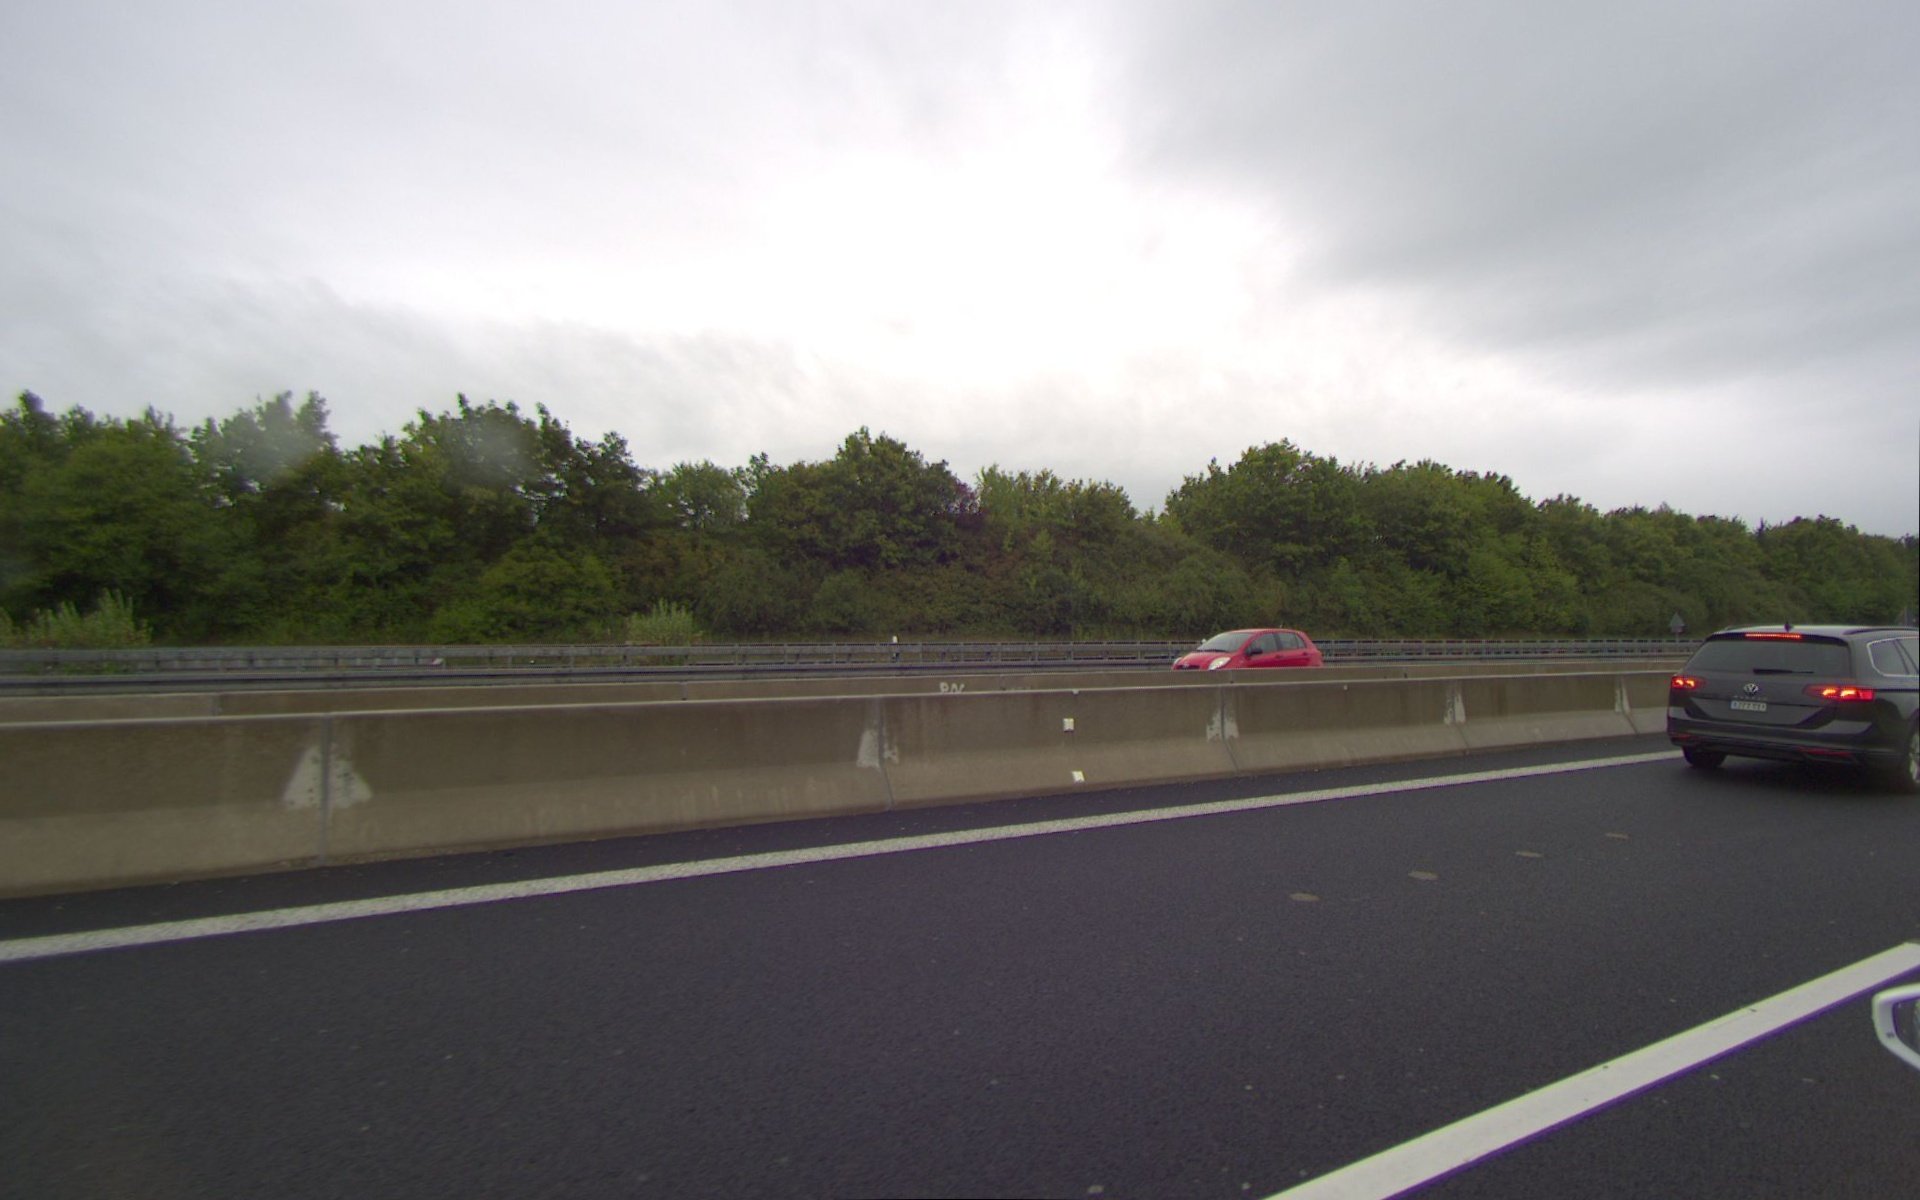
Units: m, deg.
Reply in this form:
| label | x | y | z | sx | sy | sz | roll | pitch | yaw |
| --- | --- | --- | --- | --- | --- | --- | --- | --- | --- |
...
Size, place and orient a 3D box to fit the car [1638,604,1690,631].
| label | x | y | z | sx | sy | sz | roll | pitch | yaw |
| --- | --- | --- | --- | --- | --- | --- | --- | --- | --- |
| car | 53.335 | 1.337 | 76.061 | 3.952 | 2.040 | 1.742 | 1 | -1 | -30 |

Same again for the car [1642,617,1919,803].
| label | x | y | z | sx | sy | sz | roll | pitch | yaw |
| --- | --- | --- | --- | --- | --- | --- | --- | --- | --- |
| car | 9.112 | 0.955 | 10.157 | 4.745 | 1.478 | 1.779 | 1 | 0 | -30 |

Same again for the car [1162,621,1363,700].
| label | x | y | z | sx | sy | sz | roll | pitch | yaw |
| --- | --- | --- | --- | --- | --- | --- | --- | --- | --- |
| car | 6.822 | 1.304 | 22.531 | 4.530 | 1.573 | 1.715 | 1 | 0 | -31 |
